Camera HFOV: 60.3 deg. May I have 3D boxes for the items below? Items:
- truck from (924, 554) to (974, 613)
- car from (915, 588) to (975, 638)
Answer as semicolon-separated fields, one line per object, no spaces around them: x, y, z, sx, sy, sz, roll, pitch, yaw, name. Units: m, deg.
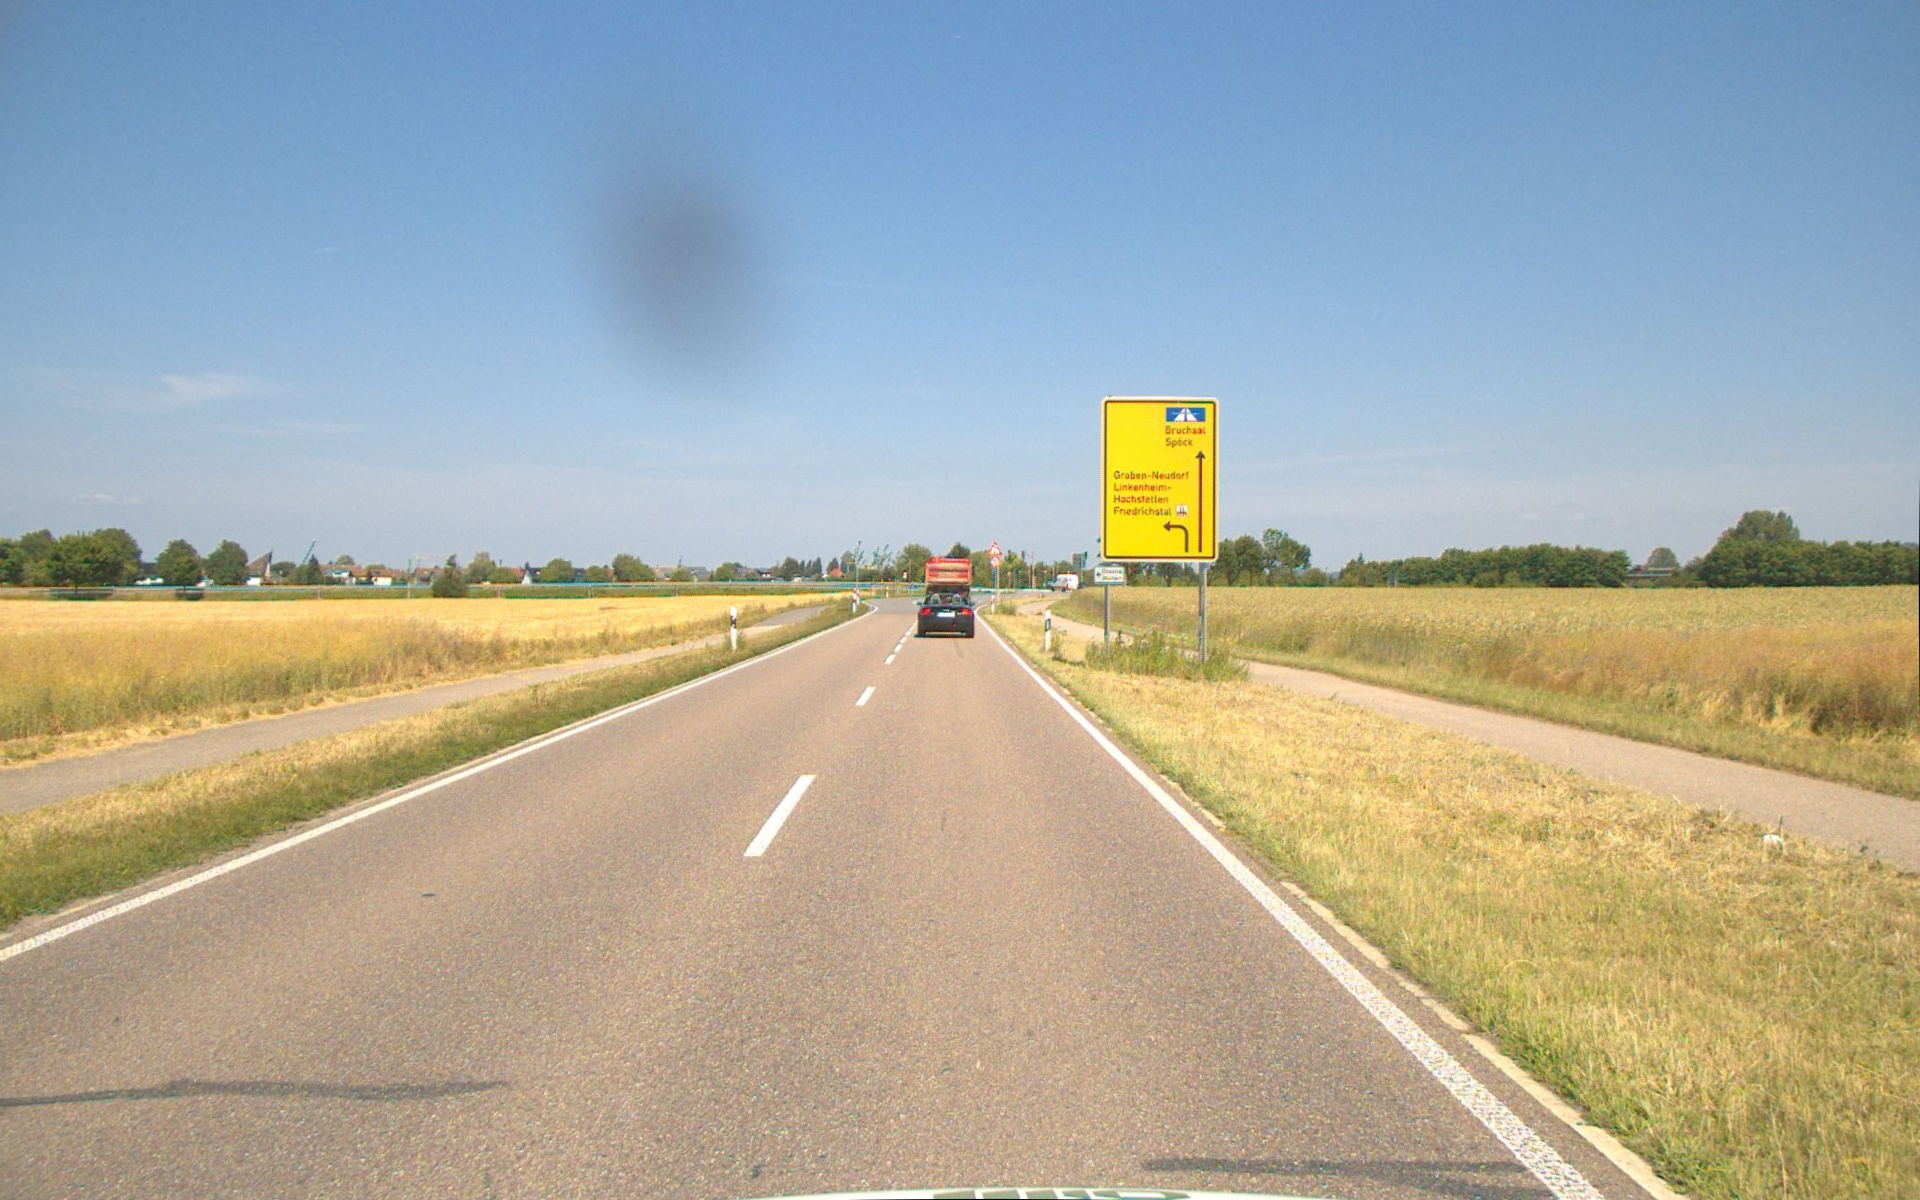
-0.647;-0.864;93.070;2.659;3.106;8.163;1;0;-1;truck
-0.450;0.391;50.481;1.712;1.399;3.678;2;0;-1;car
